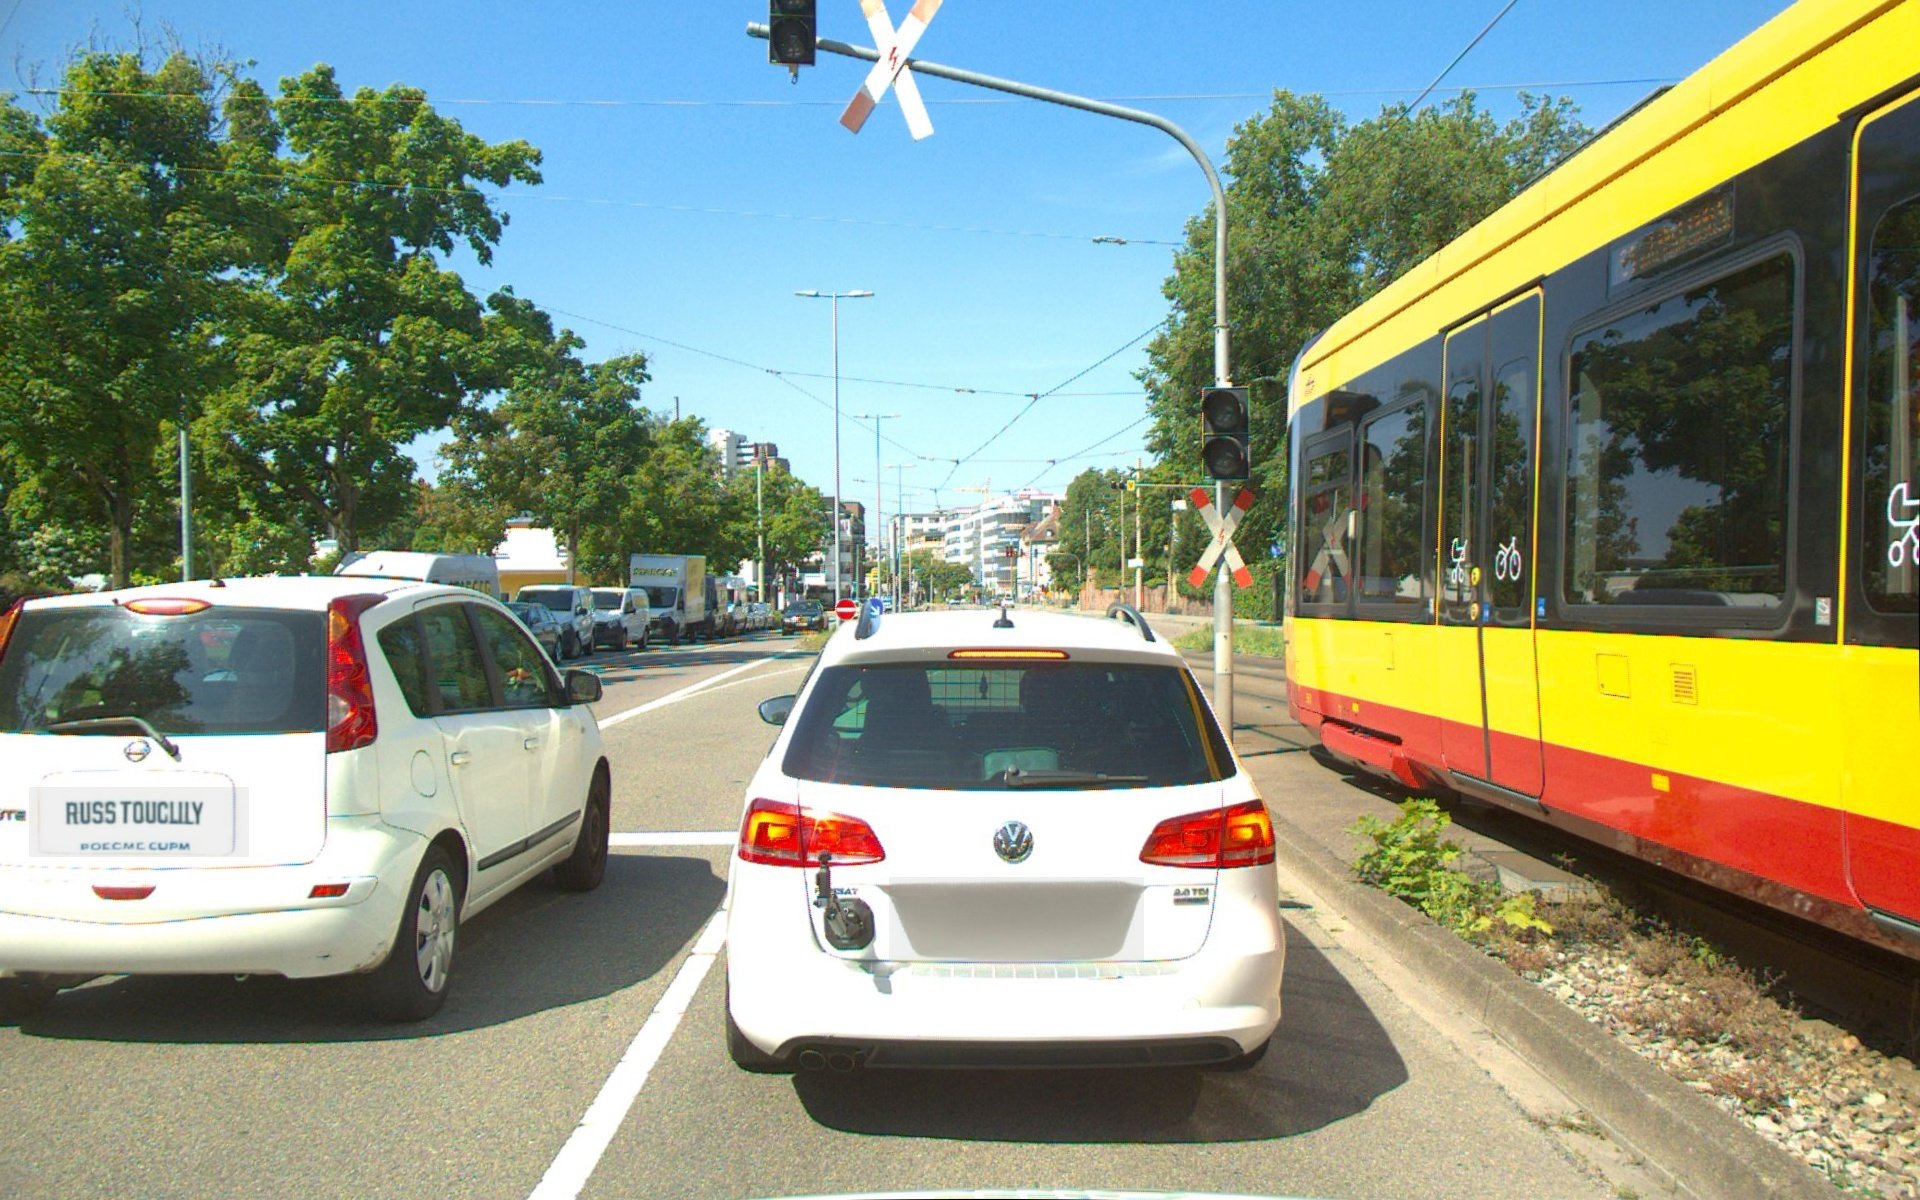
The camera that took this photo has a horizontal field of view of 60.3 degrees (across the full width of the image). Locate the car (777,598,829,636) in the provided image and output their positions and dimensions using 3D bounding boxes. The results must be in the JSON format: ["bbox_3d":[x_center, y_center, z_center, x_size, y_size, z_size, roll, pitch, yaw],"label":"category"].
[{"bbox_3d":[-6.598,0.683,69.832,1.670,1.499,4.589,-1,0,0],"label":"car"}]

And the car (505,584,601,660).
[{"bbox_3d":[-11.037,0.555,45.121,1.827,1.900,5.068,1,0,-6],"label":"car"}]

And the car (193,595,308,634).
[{"bbox_3d":[-34.831,0.725,81.308,4.698,1.819,2.062,1,0,-5],"label":"car"}]

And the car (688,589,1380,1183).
[{"bbox_3d":[0.165,0.712,6.192,1.726,1.455,3.999,-1,0,-1],"label":"car"}]

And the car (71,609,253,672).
[{"bbox_3d":[-21.067,1.052,43.783,3.909,1.440,1.728,-2,0,-5],"label":"car"}]

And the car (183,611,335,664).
[{"bbox_3d":[-21.662,1.159,51.220,3.909,1.440,1.728,-2,0,-5],"label":"car"}]

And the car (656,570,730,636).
[{"bbox_3d":[-10.952,0.100,68.140,2.079,2.560,5.733,1,0,0],"label":"car"}]

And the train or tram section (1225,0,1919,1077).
[{"bbox_3d":[3.993,-0.604,10.204,2.812,3.923,10.536,-1,0,-1],"label":"train or tram section"}]

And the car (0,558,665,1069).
[{"bbox_3d":[-2.545,0.646,7.373,1.628,1.575,4.546,0,0,0],"label":"car"}]

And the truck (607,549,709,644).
[{"bbox_3d":[-10.872,-0.123,60.142,2.371,3.205,6.996,1,0,0],"label":"truck"}]

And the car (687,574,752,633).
[{"bbox_3d":[-10.924,0.137,75.576,2.079,2.560,5.733,1,0,0],"label":"car"}]

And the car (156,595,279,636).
[{"bbox_3d":[-34.315,0.712,76.532,4.698,1.819,2.062,1,0,-5],"label":"car"}]

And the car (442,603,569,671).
[{"bbox_3d":[-10.519,0.824,38.597,1.826,1.440,4.278,1,0,-1],"label":"car"}]

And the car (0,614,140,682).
[{"bbox_3d":[-21.577,1.141,38.634,3.909,1.440,1.728,-2,0,-5],"label":"car"}]

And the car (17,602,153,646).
[{"bbox_3d":[-37.759,1.026,71.469,4.698,1.819,2.062,1,0,-5],"label":"car"}]

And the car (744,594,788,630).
[{"bbox_3d":[-10.687,0.646,91.501,1.826,1.900,5.412,1,0,-1],"label":"car"}]

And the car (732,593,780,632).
[{"bbox_3d":[-10.423,0.621,84.691,1.826,1.900,5.412,1,0,-1],"label":"car"}]

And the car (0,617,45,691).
[{"bbox_3d":[-20.697,1.145,32.923,3.909,1.440,1.728,-2,0,-5],"label":"car"}]

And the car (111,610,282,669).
[{"bbox_3d":[-21.244,1.086,46.111,3.909,1.440,1.728,-2,0,-5],"label":"car"}]

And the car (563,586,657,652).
[{"bbox_3d":[-10.869,0.558,51.719,1.826,1.900,5.412,1,0,-1],"label":"car"}]

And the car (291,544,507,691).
[{"bbox_3d":[-10.710,0.296,32.122,2.079,2.560,5.817,1,0,1],"label":"car"}]

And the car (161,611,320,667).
[{"bbox_3d":[-21.230,1.132,48.929,3.909,1.440,1.728,-2,0,-5],"label":"car"}]

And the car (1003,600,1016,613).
[{"bbox_3d":[6.934,0.918,232.378,1.575,1.896,3.730,1,0,-1],"label":"car"}]

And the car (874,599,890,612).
[{"bbox_3d":[-9.096,0.655,193.027,1.670,1.499,4.589,-1,0,0],"label":"car"}]

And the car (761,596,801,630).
[{"bbox_3d":[-10.631,0.760,98.418,1.826,1.900,5.412,1,0,-1],"label":"car"}]

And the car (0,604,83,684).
[{"bbox_3d":[-21.034,0.985,35.048,3.909,1.638,1.728,-2,0,-5],"label":"car"}]

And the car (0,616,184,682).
[{"bbox_3d":[-21.742,1.196,41.237,3.909,1.440,1.728,-2,0,-5],"label":"car"}]

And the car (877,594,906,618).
[{"bbox_3d":[-4.657,0.386,112.594,1.670,1.499,4.589,-1,0,0],"label":"car"}]
